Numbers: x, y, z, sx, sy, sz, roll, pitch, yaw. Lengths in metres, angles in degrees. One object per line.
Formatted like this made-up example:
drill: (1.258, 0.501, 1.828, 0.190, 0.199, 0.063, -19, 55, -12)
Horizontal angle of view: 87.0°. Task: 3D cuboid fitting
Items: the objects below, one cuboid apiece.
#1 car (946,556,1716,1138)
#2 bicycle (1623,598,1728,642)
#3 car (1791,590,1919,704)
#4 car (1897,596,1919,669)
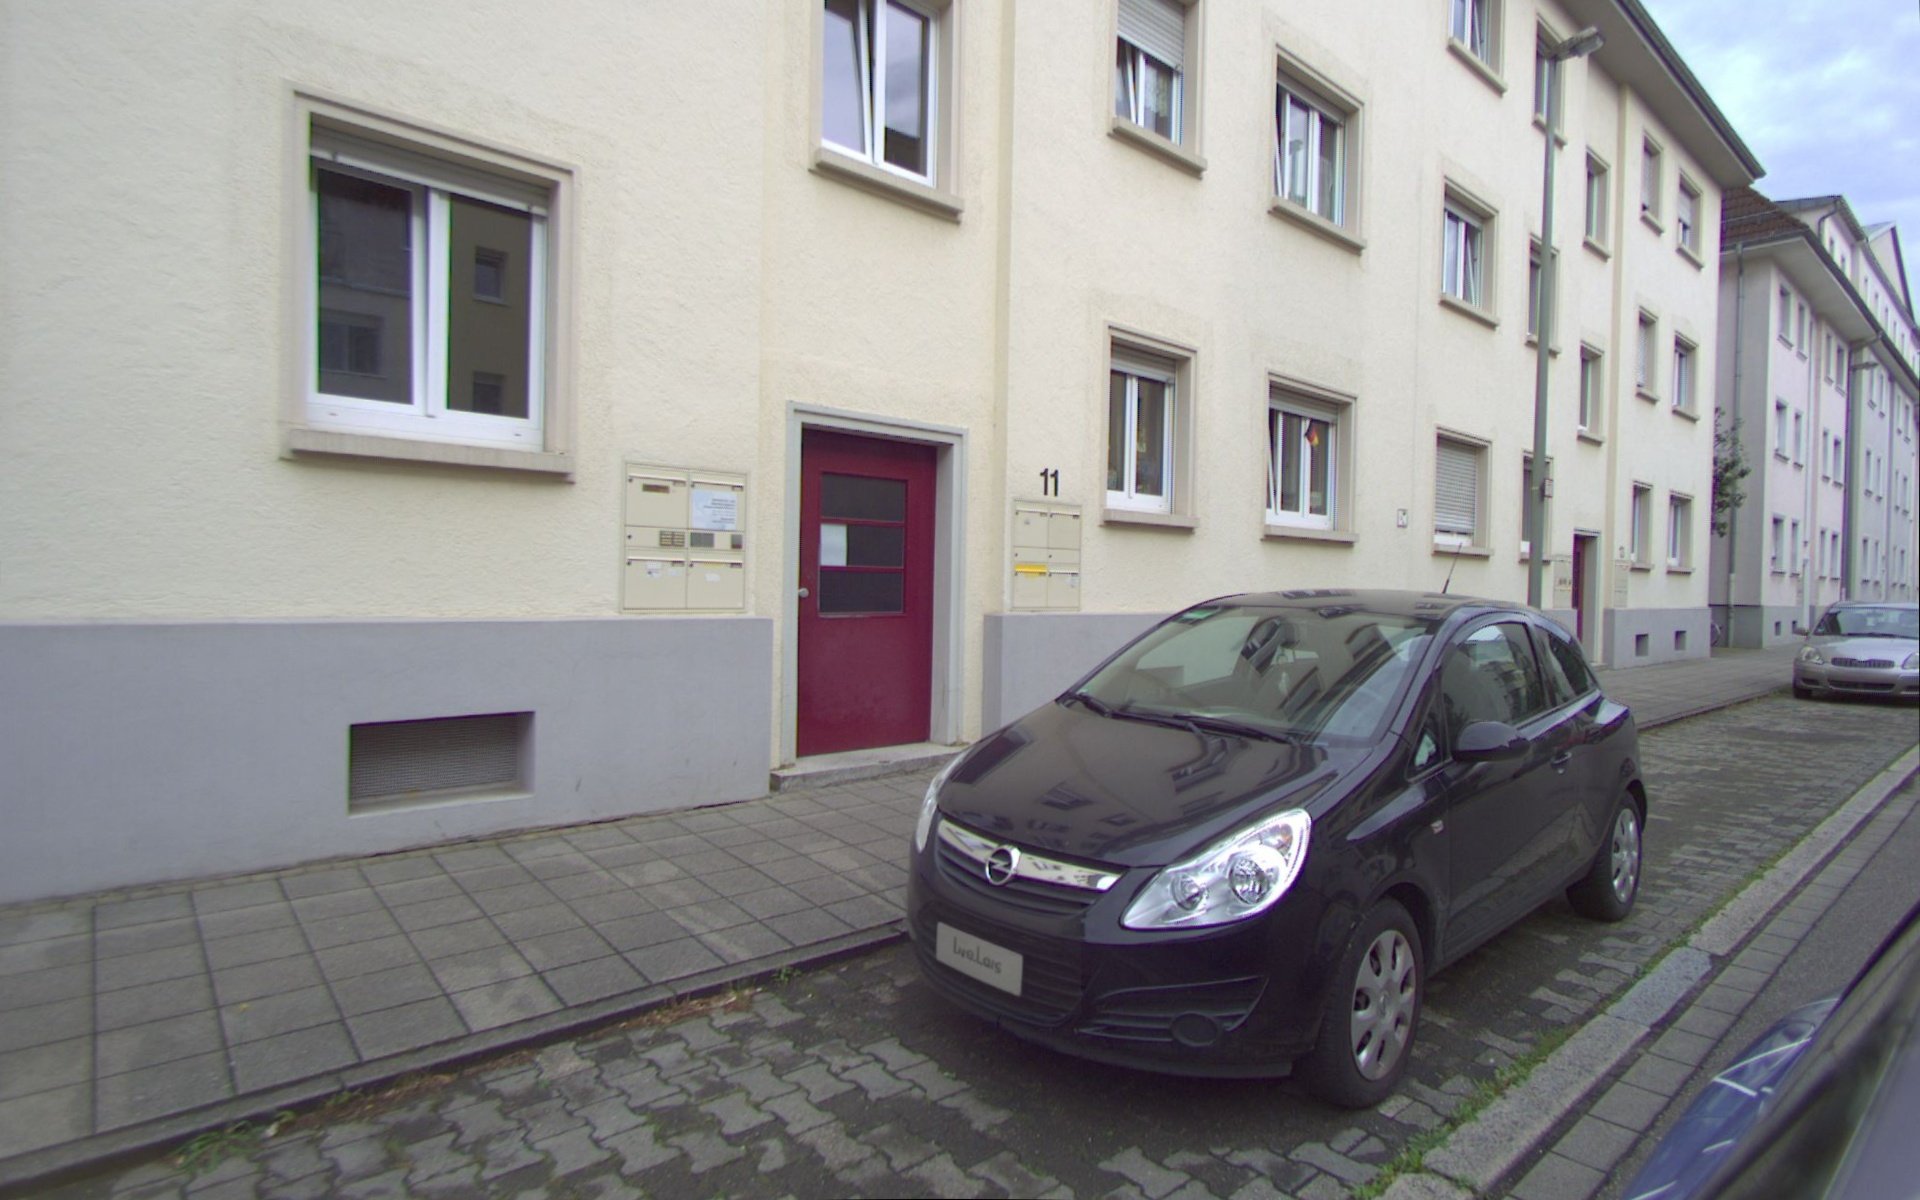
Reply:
car: (1.987, 0.644, 4.675, 3.992, 1.536, 1.727, 0, 0, -43)
bicycle: (19.159, 0.523, 27.156, 0.637, 1.090, 2.211, 0, 1, -41)
car: (14.270, 0.638, 15.587, 3.992, 1.536, 1.727, 0, 1, -43)
car: (21.827, 0.693, 22.016, 3.990, 1.511, 1.728, 0, 1, -42)
